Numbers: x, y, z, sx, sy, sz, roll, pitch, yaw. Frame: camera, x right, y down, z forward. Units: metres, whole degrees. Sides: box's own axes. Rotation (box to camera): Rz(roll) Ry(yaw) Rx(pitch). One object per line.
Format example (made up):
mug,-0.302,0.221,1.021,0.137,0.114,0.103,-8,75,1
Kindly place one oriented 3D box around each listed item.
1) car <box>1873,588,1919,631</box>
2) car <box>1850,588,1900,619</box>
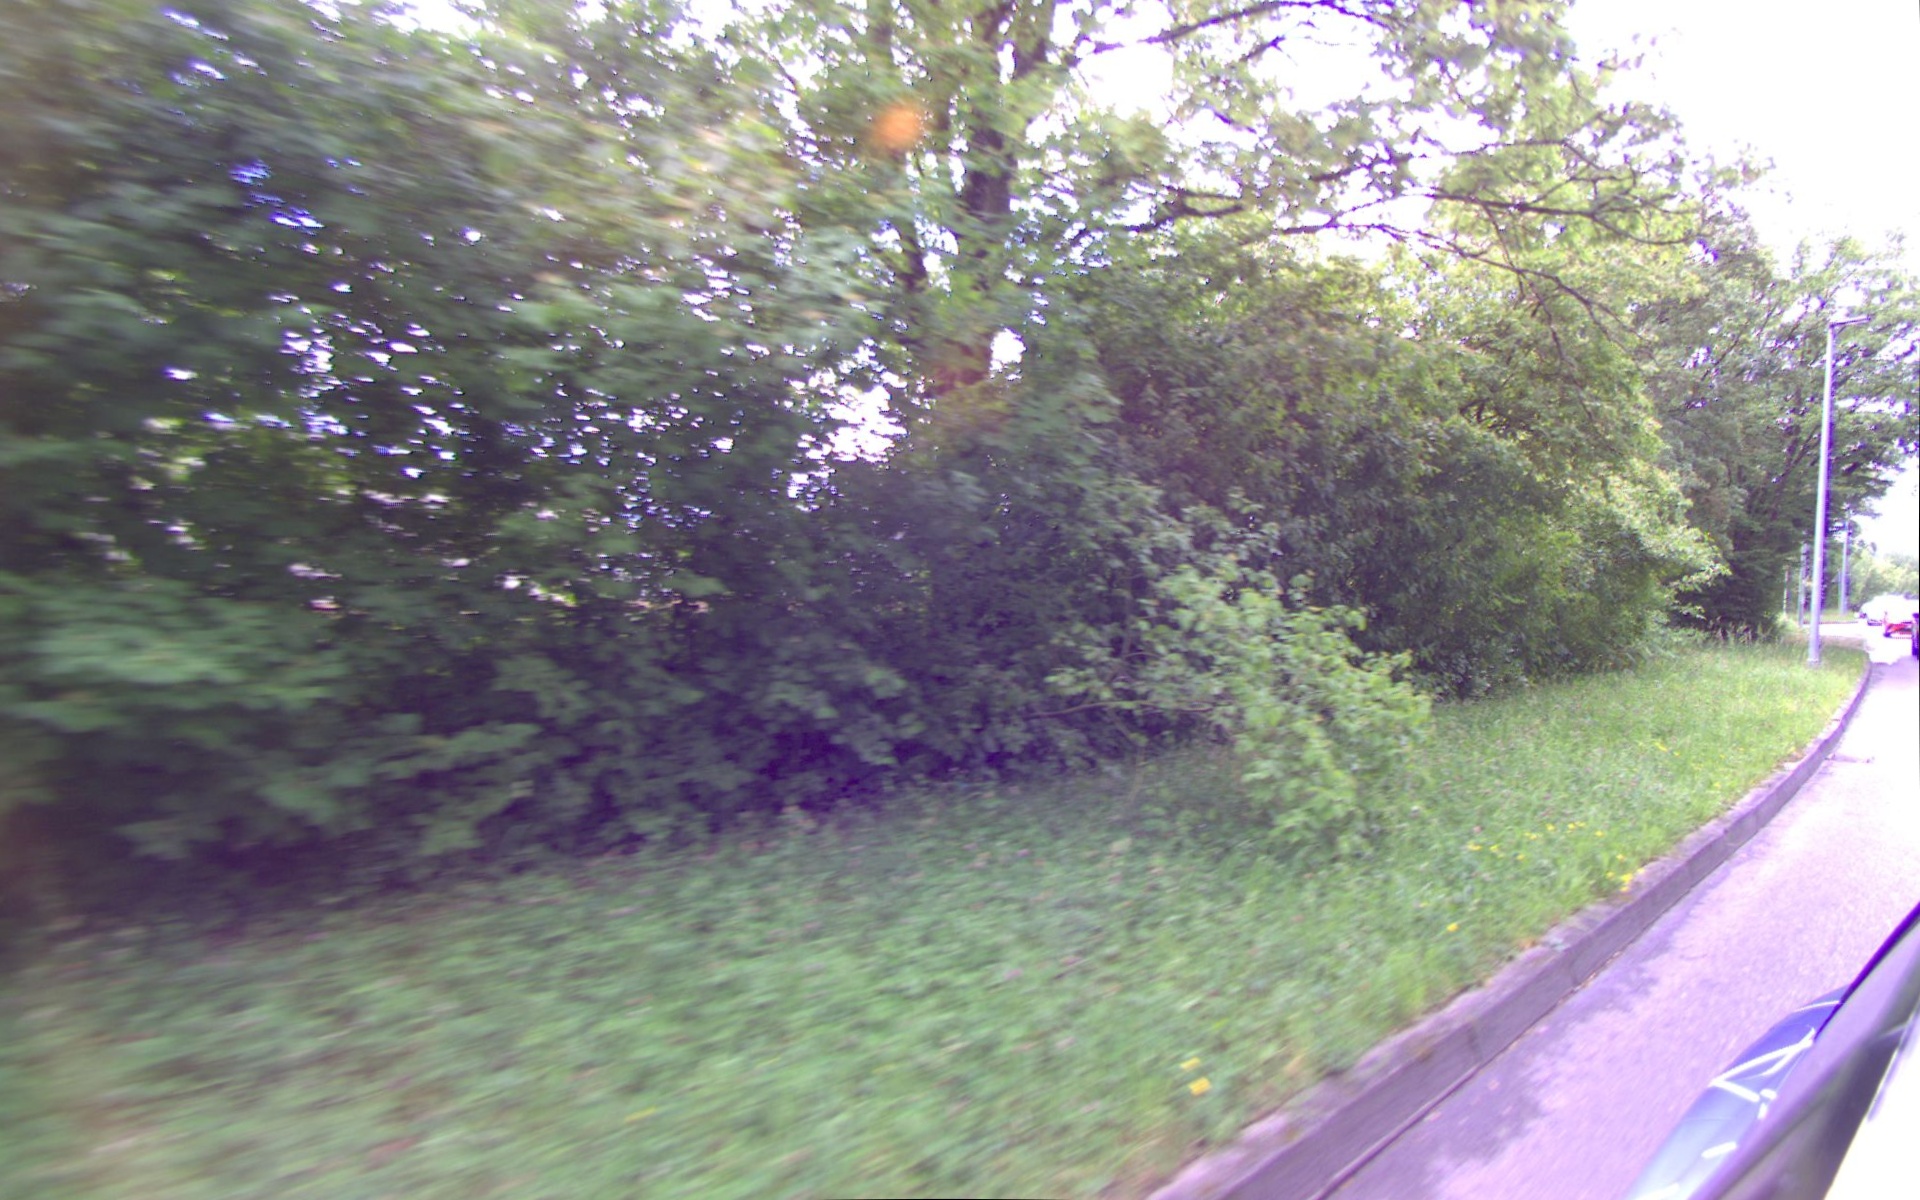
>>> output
car,37.554,0.355,39.758,1.988,1.593,3.948,3,2,36
car,50.975,0.167,56.434,1.914,1.616,3.840,3,2,41
